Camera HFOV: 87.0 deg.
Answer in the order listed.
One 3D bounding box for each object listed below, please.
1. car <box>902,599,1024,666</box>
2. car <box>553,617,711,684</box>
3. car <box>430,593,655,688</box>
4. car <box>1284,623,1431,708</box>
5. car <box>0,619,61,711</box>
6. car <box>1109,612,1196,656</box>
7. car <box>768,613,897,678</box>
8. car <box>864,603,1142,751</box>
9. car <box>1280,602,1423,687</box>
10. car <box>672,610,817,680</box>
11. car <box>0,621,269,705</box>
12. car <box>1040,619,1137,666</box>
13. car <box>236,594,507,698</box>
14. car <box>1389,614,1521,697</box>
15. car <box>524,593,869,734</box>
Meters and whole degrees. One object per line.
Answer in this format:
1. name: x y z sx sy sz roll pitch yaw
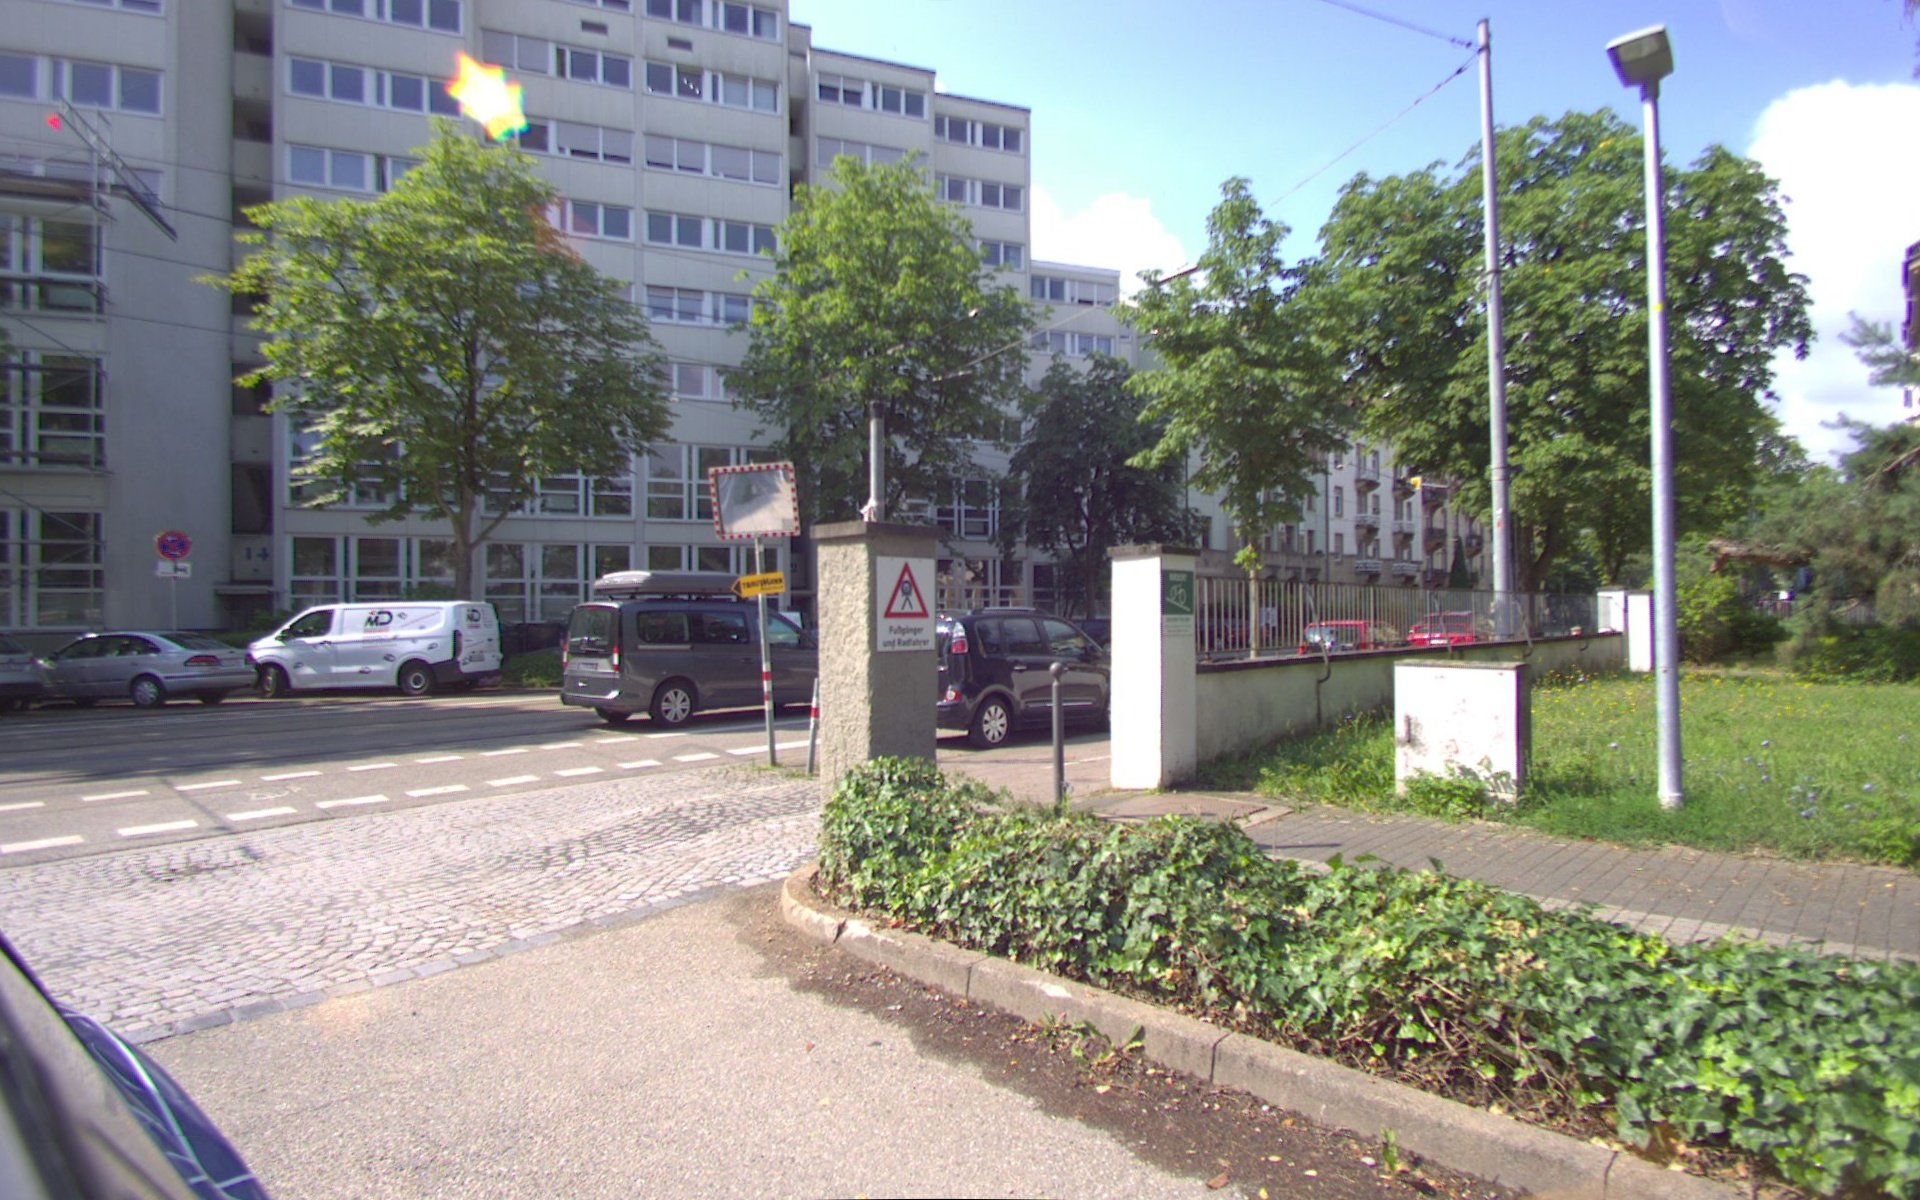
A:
1. car: 0.067 1.124 35.638 4.143 2.096 1.885 1 4 -2
2. car: -8.432 1.282 26.261 3.582 1.512 1.764 -2 1 -4
3. car: -9.691 0.898 23.730 4.512 2.012 1.903 1 2 2
4. car: 8.450 1.358 21.391 1.679 1.624 3.533 -3 -4 43
5. car: -17.970 1.139 16.809 4.395 1.436 1.742 -1 2 -3
6. car: 8.581 1.512 45.351 3.559 1.589 1.631 -5 1 4
7. car: -3.816 1.340 30.750 3.704 1.724 1.885 -1 2 -2
8. car: 0.641 0.939 12.980 1.679 1.624 3.533 -3 -4 43
9. car: 8.276 0.882 21.280 1.673 1.497 3.233 -2 1 43
10. car: -6.017 1.249 28.606 3.704 1.724 1.885 -1 2 -2
11. car: -15.472 1.177 19.078 3.731 1.487 1.725 0 -2 1
12. car: 4.927 1.634 39.187 3.607 1.538 1.582 2 4 4
13. car: -12.237 0.911 21.254 4.580 1.926 1.932 0 4 2
14. car: 12.986 1.358 26.433 1.967 1.718 3.942 1 3 45
15. car: -3.776 0.860 15.250 1.946 1.787 4.770 -1 -2 42
